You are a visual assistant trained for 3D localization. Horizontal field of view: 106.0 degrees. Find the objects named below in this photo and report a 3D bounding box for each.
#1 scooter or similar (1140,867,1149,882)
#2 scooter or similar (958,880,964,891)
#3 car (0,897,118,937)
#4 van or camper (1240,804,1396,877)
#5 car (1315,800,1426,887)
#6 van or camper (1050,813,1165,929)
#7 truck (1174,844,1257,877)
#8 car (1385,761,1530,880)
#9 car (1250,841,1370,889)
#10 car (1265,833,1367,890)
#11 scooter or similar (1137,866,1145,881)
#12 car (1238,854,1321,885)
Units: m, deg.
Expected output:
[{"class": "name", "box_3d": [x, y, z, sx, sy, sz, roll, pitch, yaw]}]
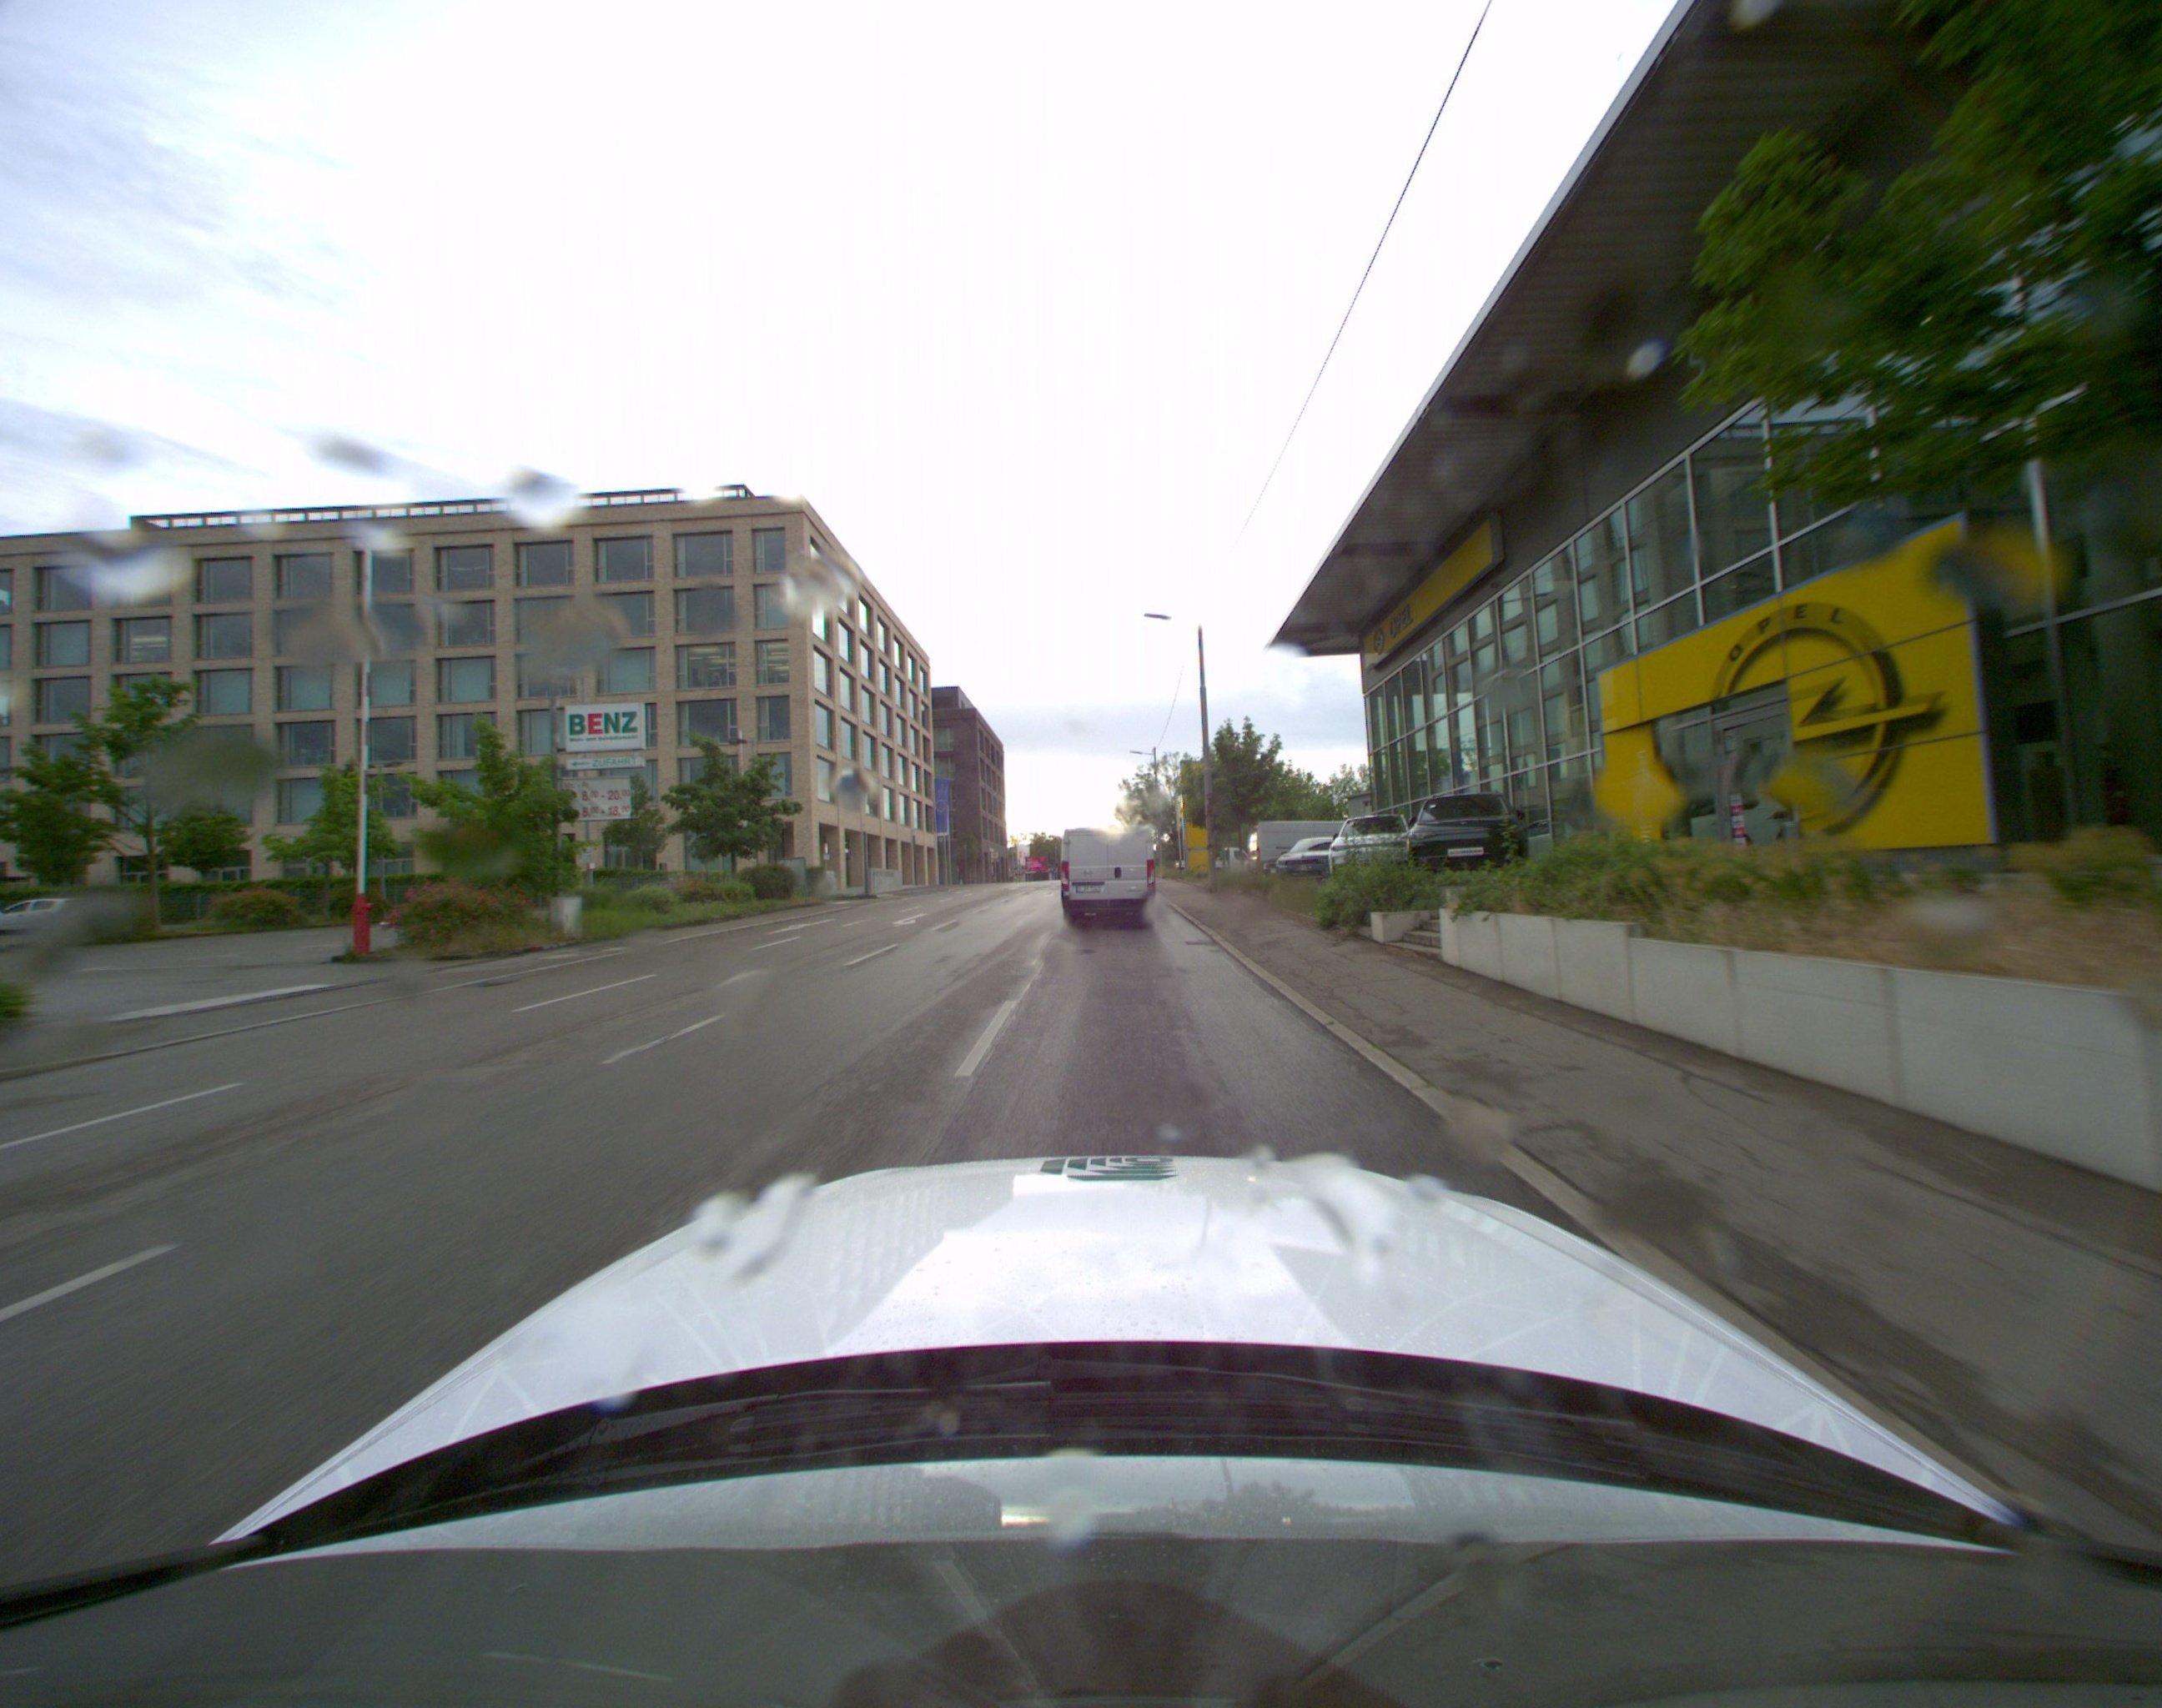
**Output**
[{"class": "scooter or similar", "box_3d": [7.115, 2.304, 91.125, 0.436, 1.564, 1.264, -1, -1, -20]}, {"class": "scooter or similar", "box_3d": [-12.316, 3.251, 83.389, 0.349, 1.072, 1.429, -2, -3, 3]}, {"class": "car", "box_3d": [-45.921, 2.782, 36.144, 3.974, 1.596, 2.000, -2, -1, 0]}, {"class": "van or camper", "box_3d": [9.687, -0.514, 33.700, 5.716, 2.724, 2.352, -2, -1, 1]}, {"class": "car", "box_3d": [7.116, -0.201, 19.728, 1.975, 1.711, 4.604, -5, -2, 25]}, {"class": "van or camper", "box_3d": [0.673, 0.396, 19.585, 2.330, 2.357, 5.202, -2, -1, 3]}, {"class": "truck", "box_3d": [8.937, 0.445, 54.577, 5.132, 2.014, 2.344, -2, -1, -1]}, {"class": "car", "box_3d": [7.008, -0.503, 14.944, 1.974, 1.711, 4.455, -5, -2, 28]}, {"class": "car", "box_3d": [8.358, 0.369, 29.512, 4.542, 1.454, 1.893, -2, -3, -41]}, {"class": "car", "box_3d": [7.319, 0.224, 25.041, 1.891, 1.454, 4.600, -5, -2, 29]}, {"class": "scooter or similar", "box_3d": [6.688, 2.164, 90.962, 0.436, 1.588, 1.264, -1, -1, -20]}, {"class": "car", "box_3d": [10.459, 0.820, 43.164, 3.971, 1.428, 1.896, -2, -1, 2]}]
